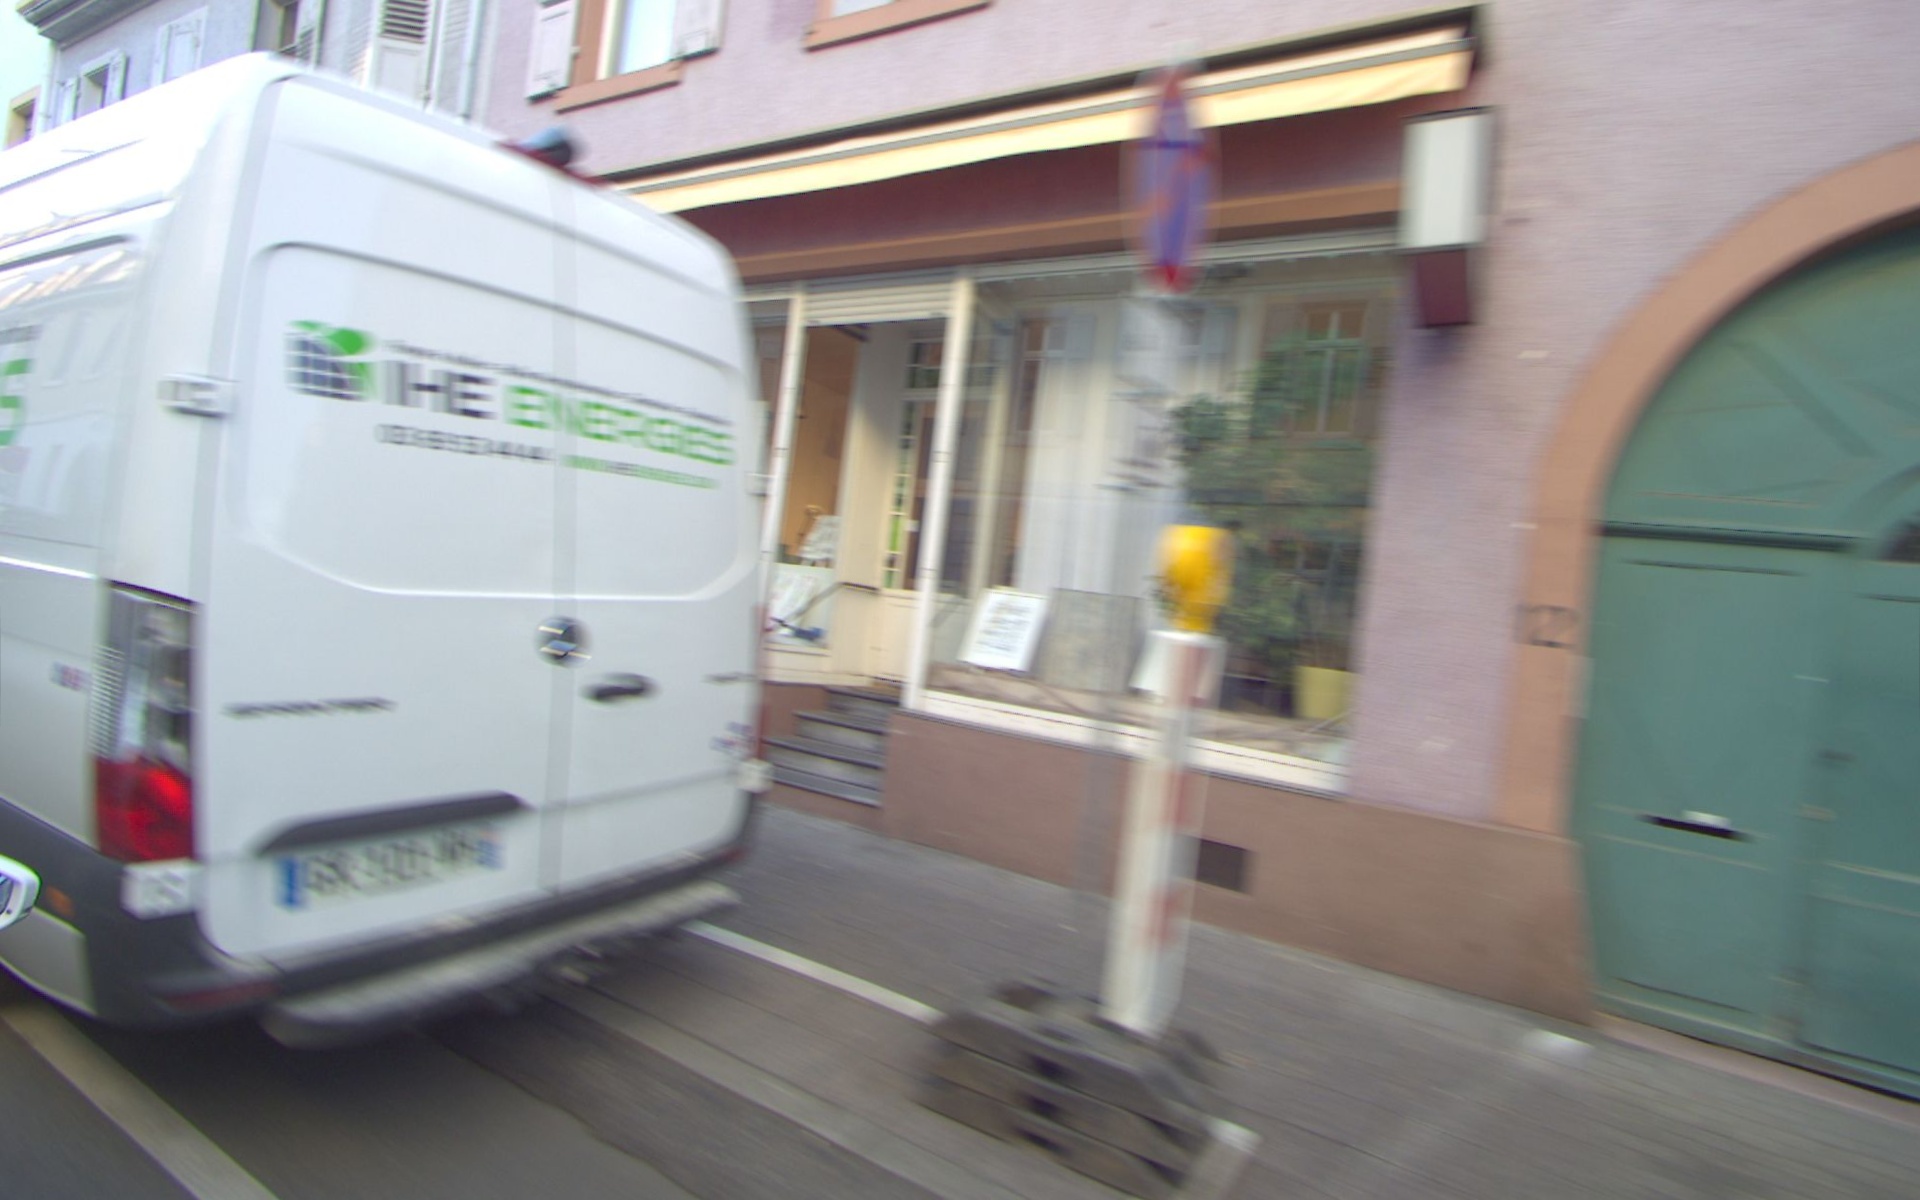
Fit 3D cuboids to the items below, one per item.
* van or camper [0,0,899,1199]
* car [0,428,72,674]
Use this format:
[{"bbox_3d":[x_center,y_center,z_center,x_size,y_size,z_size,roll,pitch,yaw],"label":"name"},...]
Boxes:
[{"bbox_3d":[-3.806,-0.395,4.542,6.947,2.669,2.052,7,0,33],"label":"van or camper"},{"bbox_3d":[-10.004,-0.623,8.761,5.229,1.920,1.941,6,2,32],"label":"car"}]
